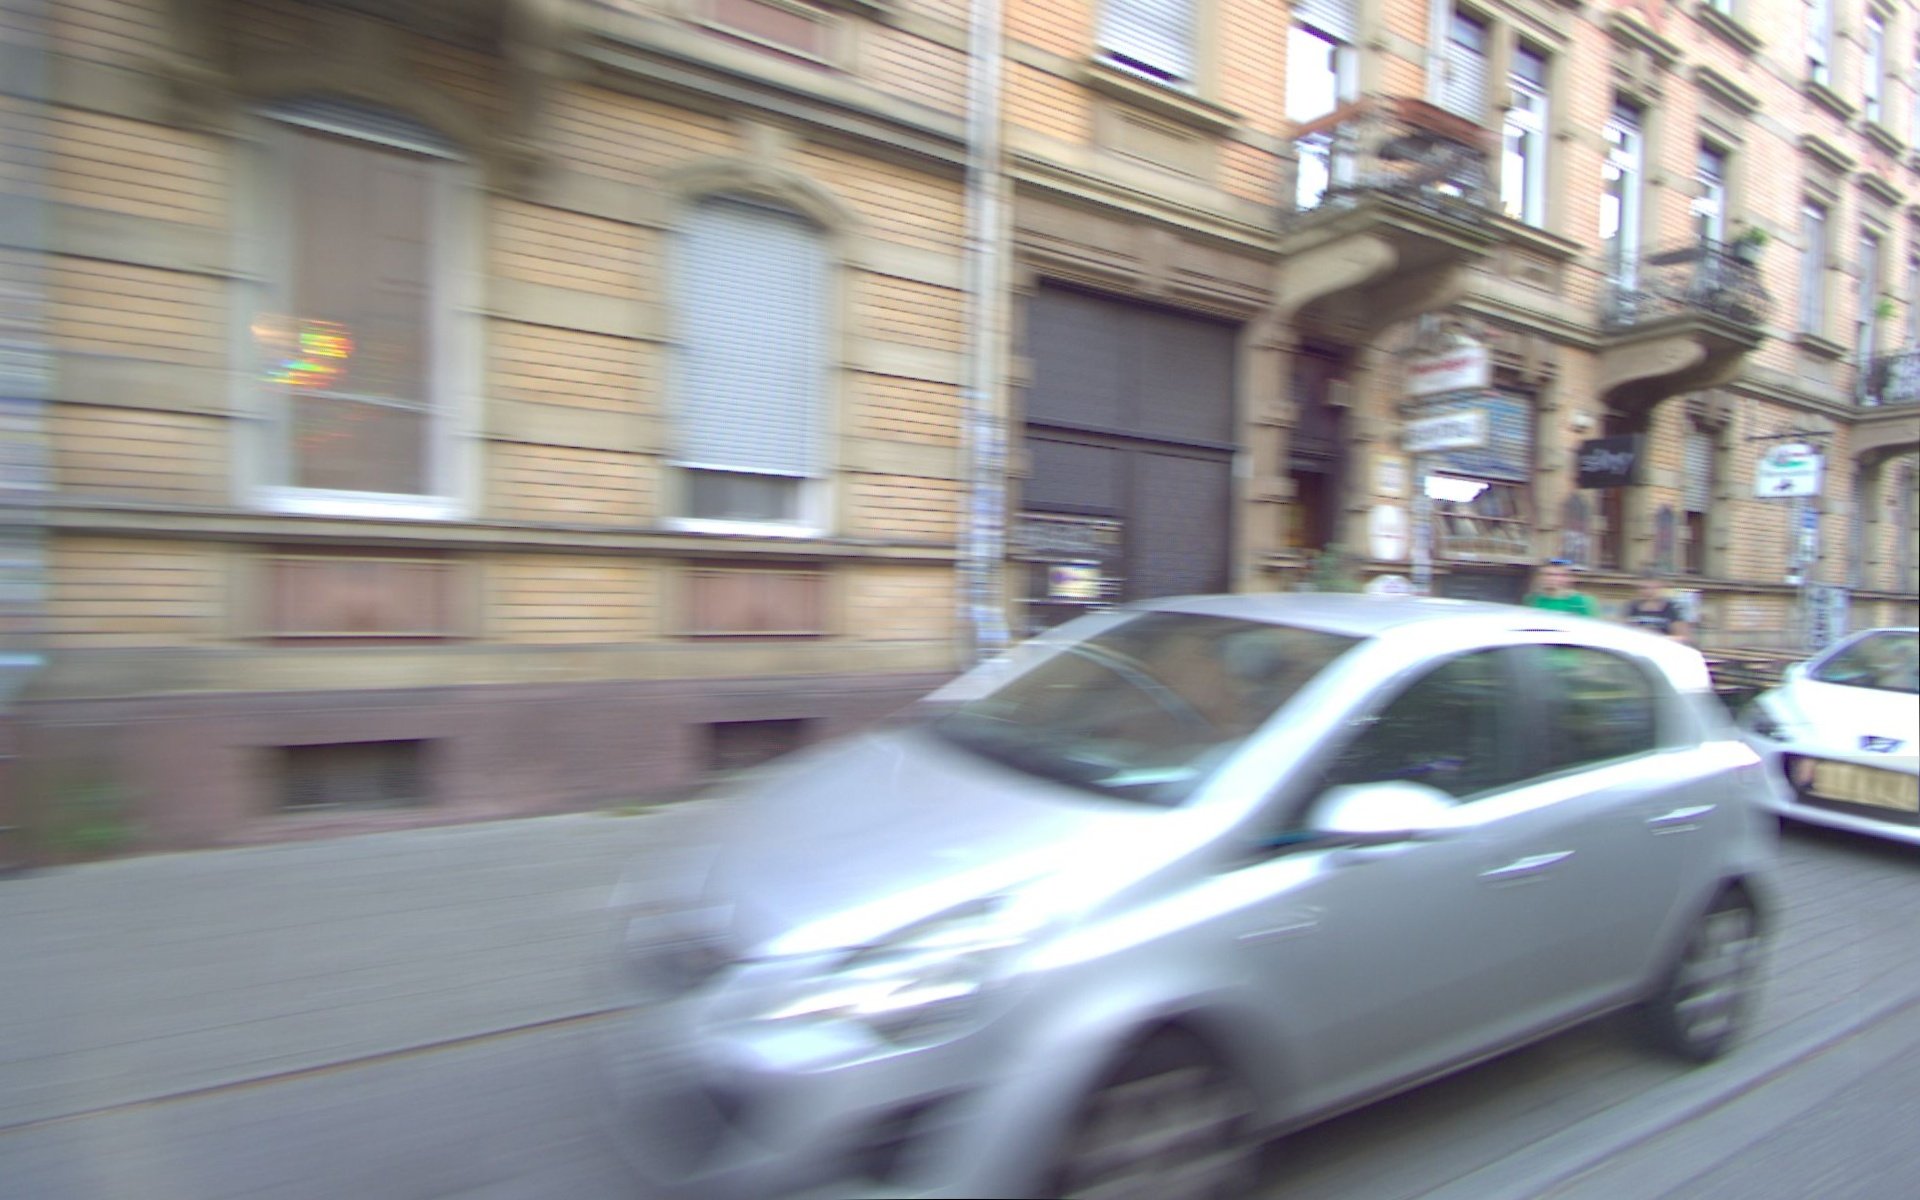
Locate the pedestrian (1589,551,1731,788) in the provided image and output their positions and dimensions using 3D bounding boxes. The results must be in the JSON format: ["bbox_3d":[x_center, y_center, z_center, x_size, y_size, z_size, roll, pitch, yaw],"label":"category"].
[{"bbox_3d":[5.634,0.520,8.096,0.769,1.796,0.601,-1,4,-35],"label":"pedestrian"}]

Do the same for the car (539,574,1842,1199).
[{"bbox_3d":[0.883,0.725,3.230,3.952,1.477,1.708,1,3,-30],"label":"car"}]

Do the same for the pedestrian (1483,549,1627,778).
[{"bbox_3d":[4.978,0.493,8.405,0.987,1.796,0.576,-1,4,-35],"label":"pedestrian"}]

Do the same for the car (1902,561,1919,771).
[{"bbox_3d":[11.472,0.696,9.947,4.899,1.950,1.981,1,3,-34],"label":"car"}]

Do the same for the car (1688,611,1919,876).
[{"bbox_3d":[7.224,0.874,7.151,4.437,1.442,1.773,1,3,-33],"label":"car"}]
